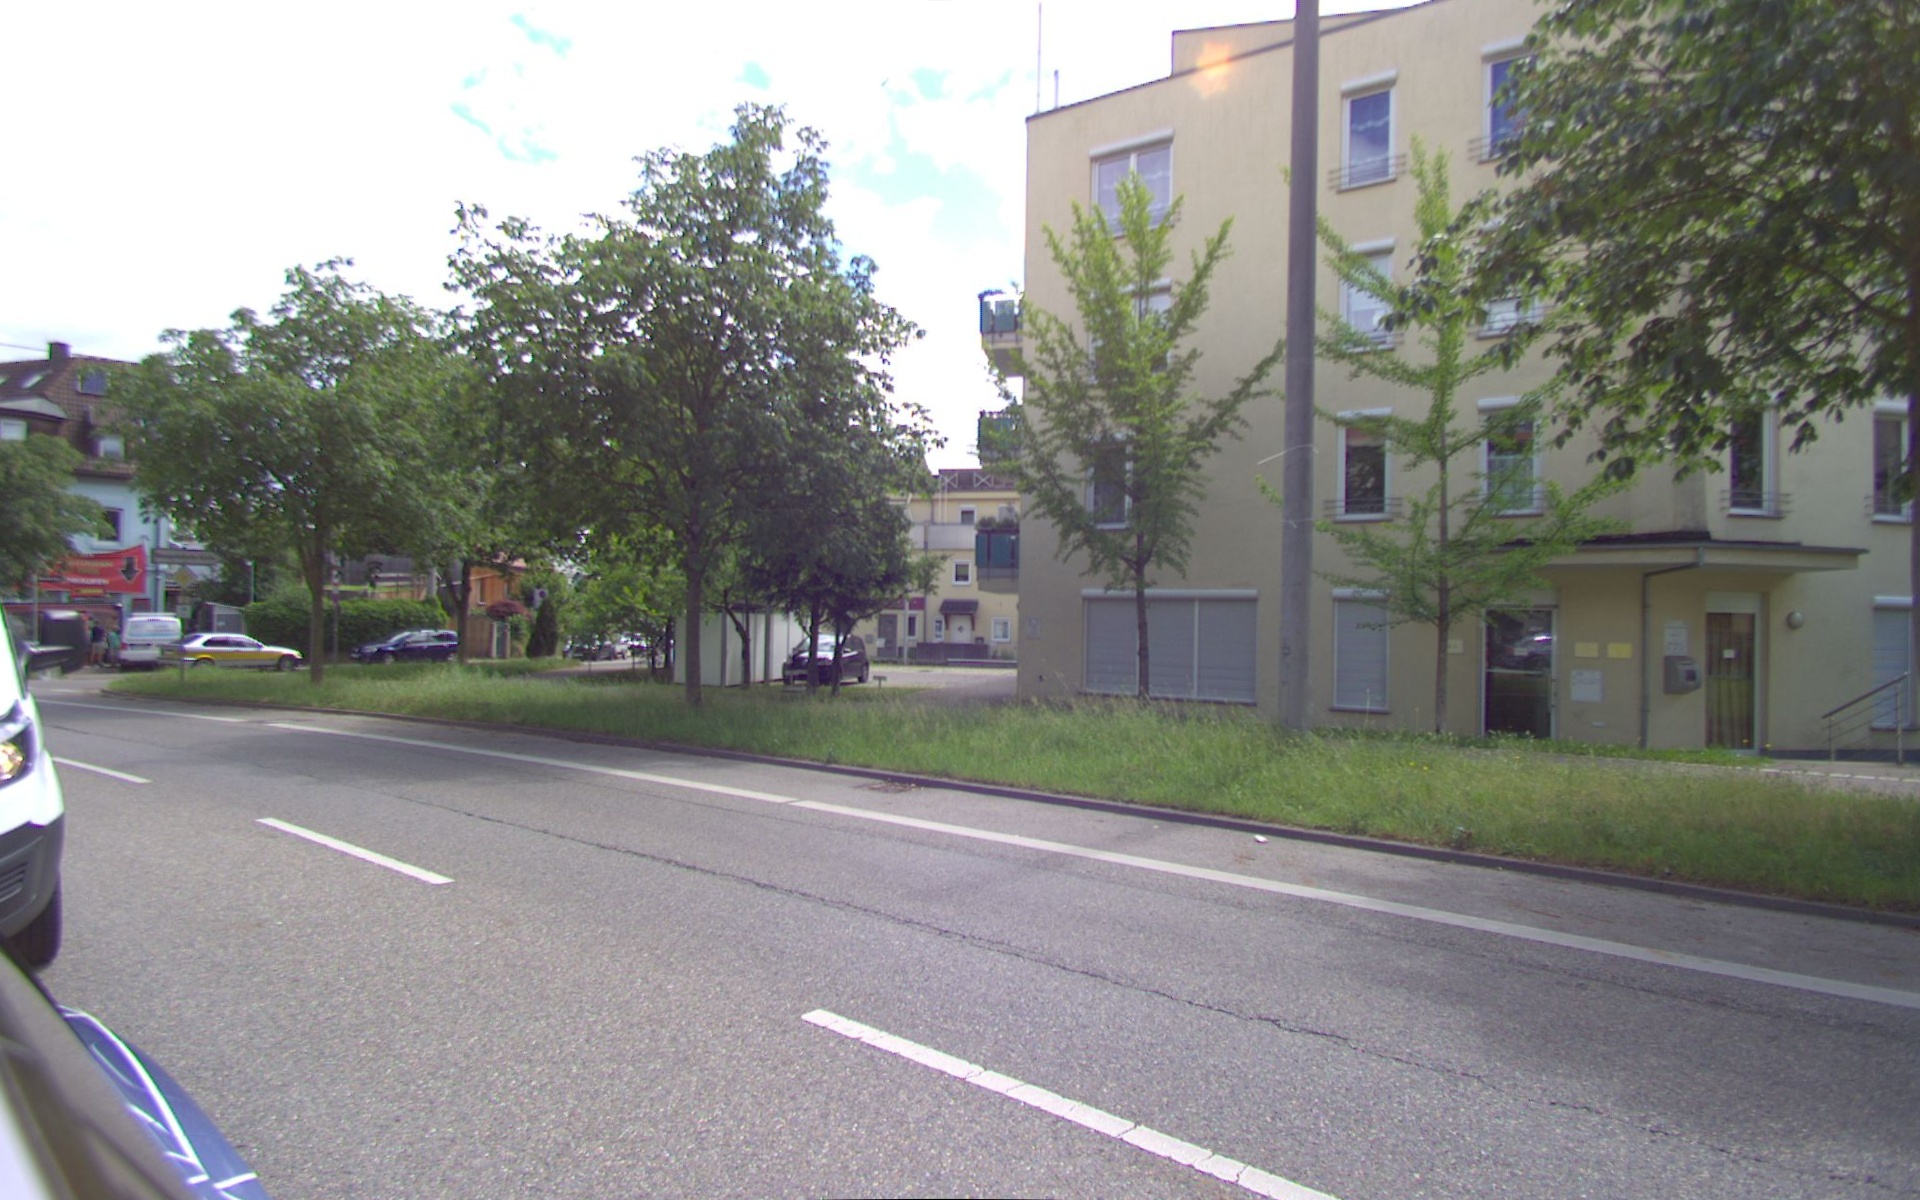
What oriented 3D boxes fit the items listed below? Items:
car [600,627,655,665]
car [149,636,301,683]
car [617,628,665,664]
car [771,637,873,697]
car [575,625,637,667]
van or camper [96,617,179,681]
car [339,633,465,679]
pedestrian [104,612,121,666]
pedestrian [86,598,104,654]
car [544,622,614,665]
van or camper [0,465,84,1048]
[{"bbox_3d":[-19.369,2.654,59.122,1.971,2.029,4.001,-1,0,-2],"label":"car"},{"bbox_3d":[-25.340,2.021,35.053,1.529,1.332,4.008,-2,0,27],"label":"car"},{"bbox_3d":[-20.030,2.871,63.623,1.870,2.029,4.002,-1,0,-2],"label":"car"},{"bbox_3d":[-3.955,1.916,29.717,1.774,1.431,3.986,-1,1,11],"label":"car"},{"bbox_3d":[-19.214,2.457,55.057,1.972,2.029,4.000,-1,0,0],"label":"car"},{"bbox_3d":[-29.630,1.691,36.431,3.811,2.105,1.770,0,0,43],"label":"van or camper"},{"bbox_3d":[-21.740,2.146,39.556,1.715,1.695,3.928,0,-2,37],"label":"car"},{"bbox_3d":[-31.540,1.451,37.658,0.443,2.005,0.378,-1,0,41],"label":"pedestrian"},{"bbox_3d":[-31.875,0.949,37.291,0.363,2.029,0.419,-1,0,41],"label":"pedestrian"},{"bbox_3d":[-19.110,2.172,50.944,1.954,2.029,3.998,0,-2,2],"label":"car"},{"bbox_3d":[-5.753,0.574,4.685,5.103,2.029,2.000,-2,-3,43],"label":"van or camper"}]
